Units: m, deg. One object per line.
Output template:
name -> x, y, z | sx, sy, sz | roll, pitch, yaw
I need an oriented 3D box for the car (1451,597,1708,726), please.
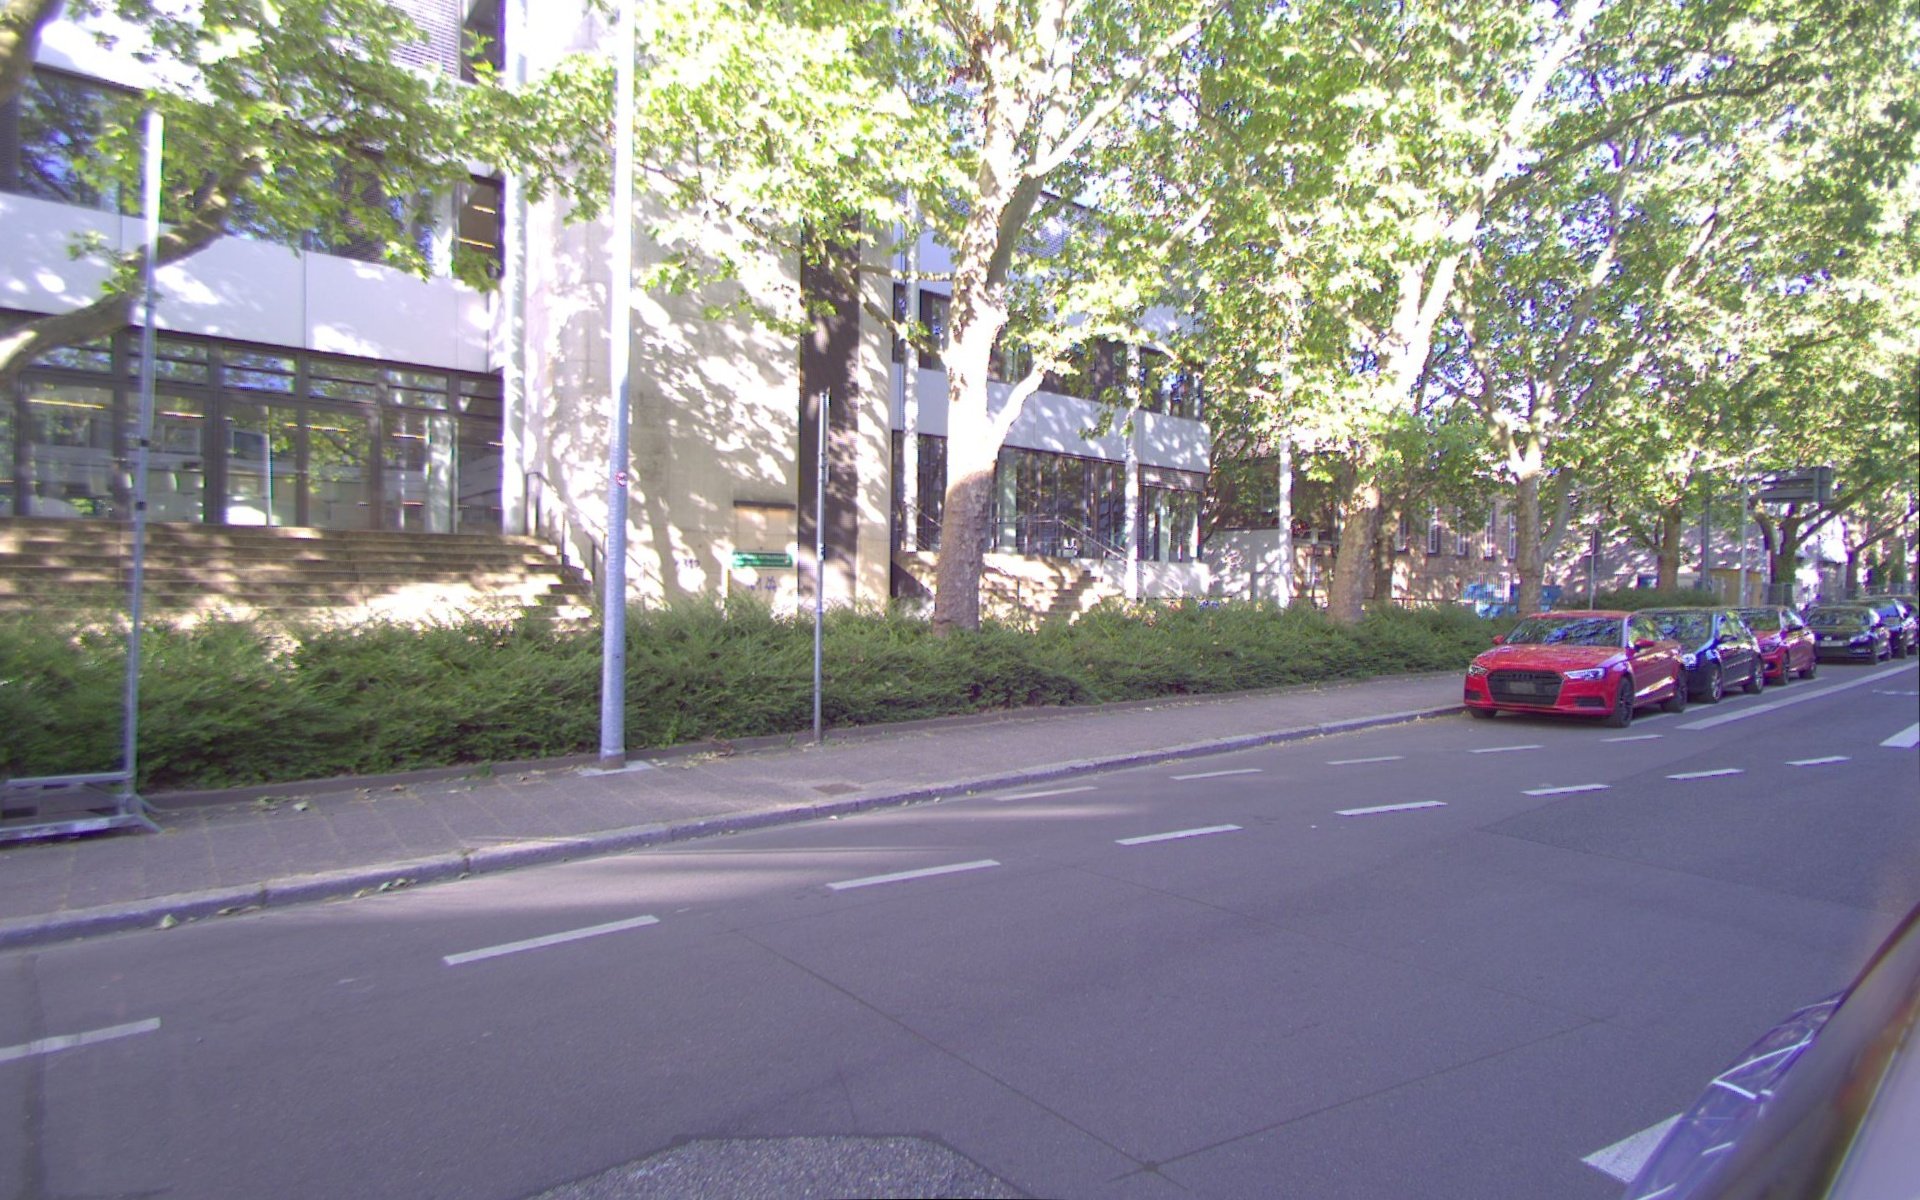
car -> 8.405, 0.708, 13.597 | 4.053, 1.483, 1.802 | 0, -1, -41

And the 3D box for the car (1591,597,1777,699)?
car -> 11.858, 0.699, 16.501 | 3.674, 1.483, 1.634 | 0, -1, -41

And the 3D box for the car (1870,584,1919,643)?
car -> 31.088, 0.430, 32.988 | 3.777, 1.828, 1.634 | 0, -1, -41

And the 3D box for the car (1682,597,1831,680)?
car -> 15.771, 0.699, 19.979 | 3.674, 1.483, 1.634 | 0, -1, -41

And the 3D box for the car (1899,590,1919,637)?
car -> 36.002, 0.478, 37.301 | 3.777, 1.675, 1.634 | 0, -1, -41

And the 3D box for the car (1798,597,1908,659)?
car -> 22.997, 0.663, 26.015 | 3.674, 1.483, 1.634 | 0, -1, -41

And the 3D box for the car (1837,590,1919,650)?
car -> 26.630, 0.545, 29.057 | 3.777, 1.607, 1.634 | 0, -1, -41
